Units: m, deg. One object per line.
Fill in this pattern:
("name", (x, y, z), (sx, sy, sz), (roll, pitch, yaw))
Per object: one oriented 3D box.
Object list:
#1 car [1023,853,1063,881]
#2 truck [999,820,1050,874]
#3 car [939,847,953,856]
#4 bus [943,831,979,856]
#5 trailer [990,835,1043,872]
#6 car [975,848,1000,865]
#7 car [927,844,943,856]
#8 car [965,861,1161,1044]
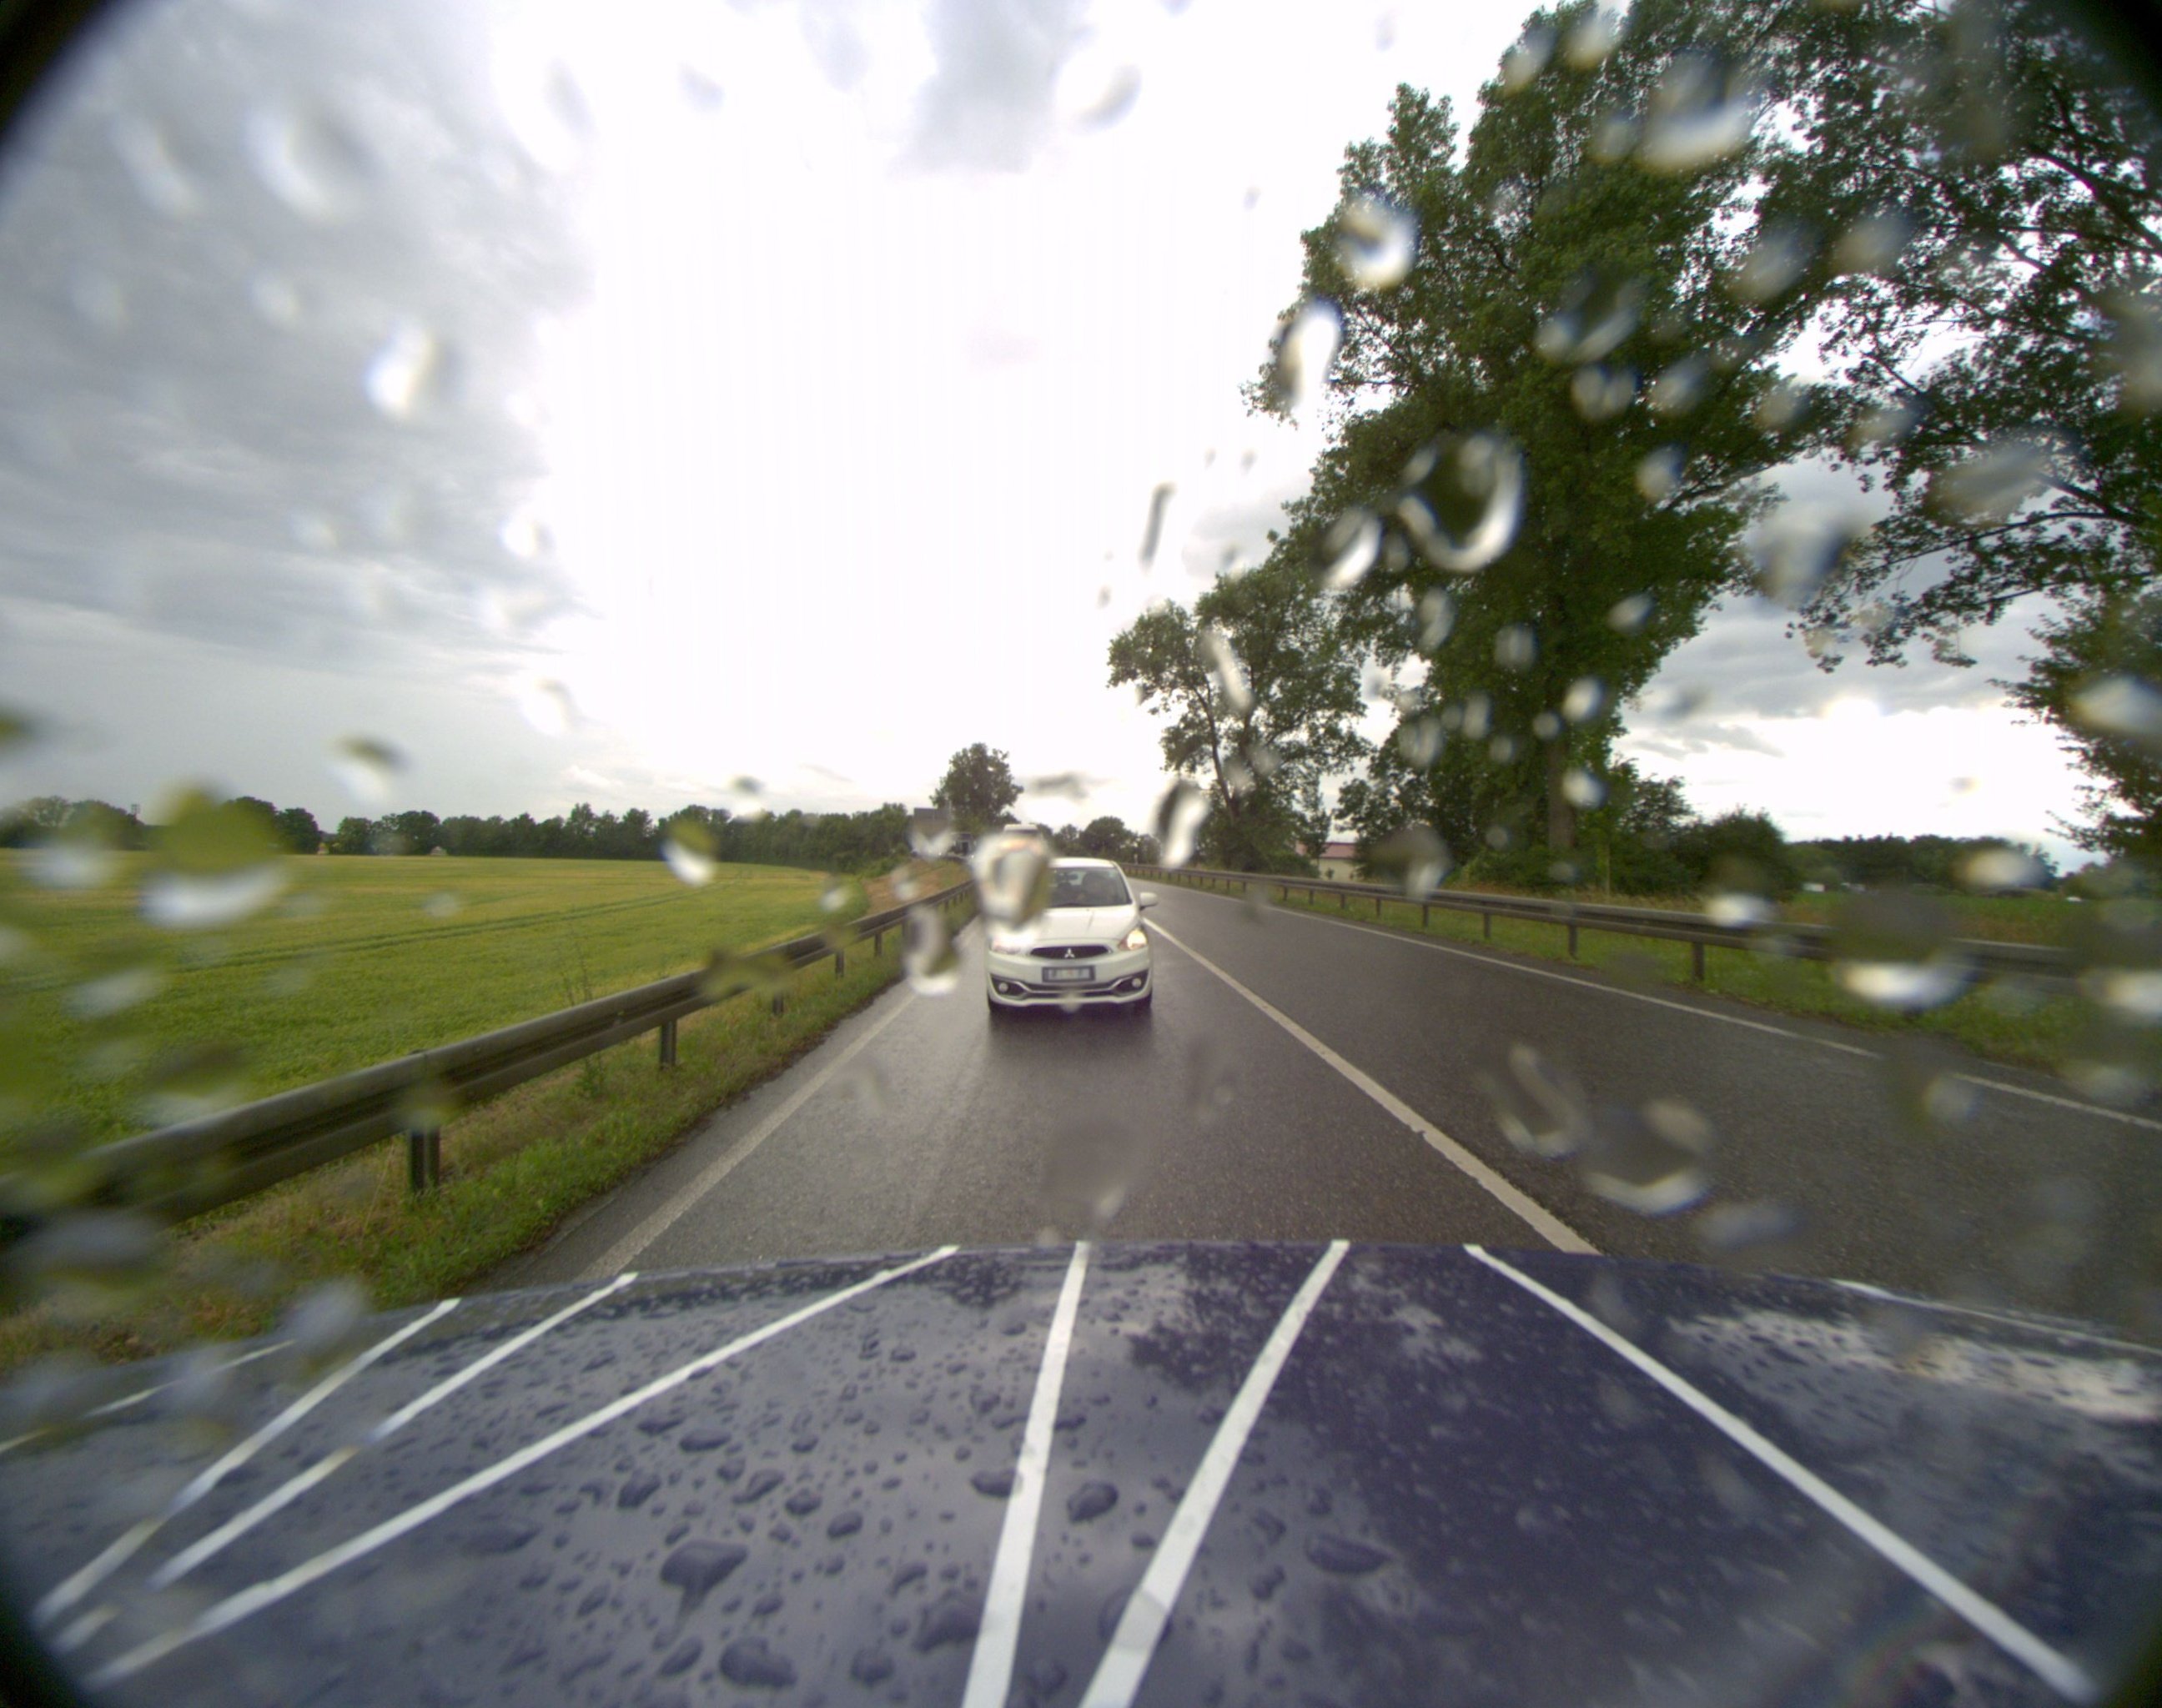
("car", (-2.156, 0.672, 42.251), (1.782, 1.380, 4.325), (-2, 1, -8))
("truck", (-4.234, -0.505, 55.690), (2.986, 3.589, 6.074), (-2, 1, -10))
("car", (-23.138, -0.438, 129.999), (1.816, 1.568, 3.994), (-3, 1, -18))
("bus", (-17.917, -1.569, 112.459), (2.968, 3.294, 14.813), (-3, 1, -17))
("trailer", (-5.698, -0.056, 64.117), (2.986, 2.618, 15.667), (-2, 1, -10))
("car", (-10.707, 0.270, 86.876), (2.044, 1.832, 5.328), (-2, 1, -15))
("car", (-27.586, -0.740, 143.230), (2.002, 2.002, 5.326), (-3, 1, -21))
("car", (-0.186, 0.878, 8.664), (1.653, 1.461, 4.029), (-2, 1, -1))
